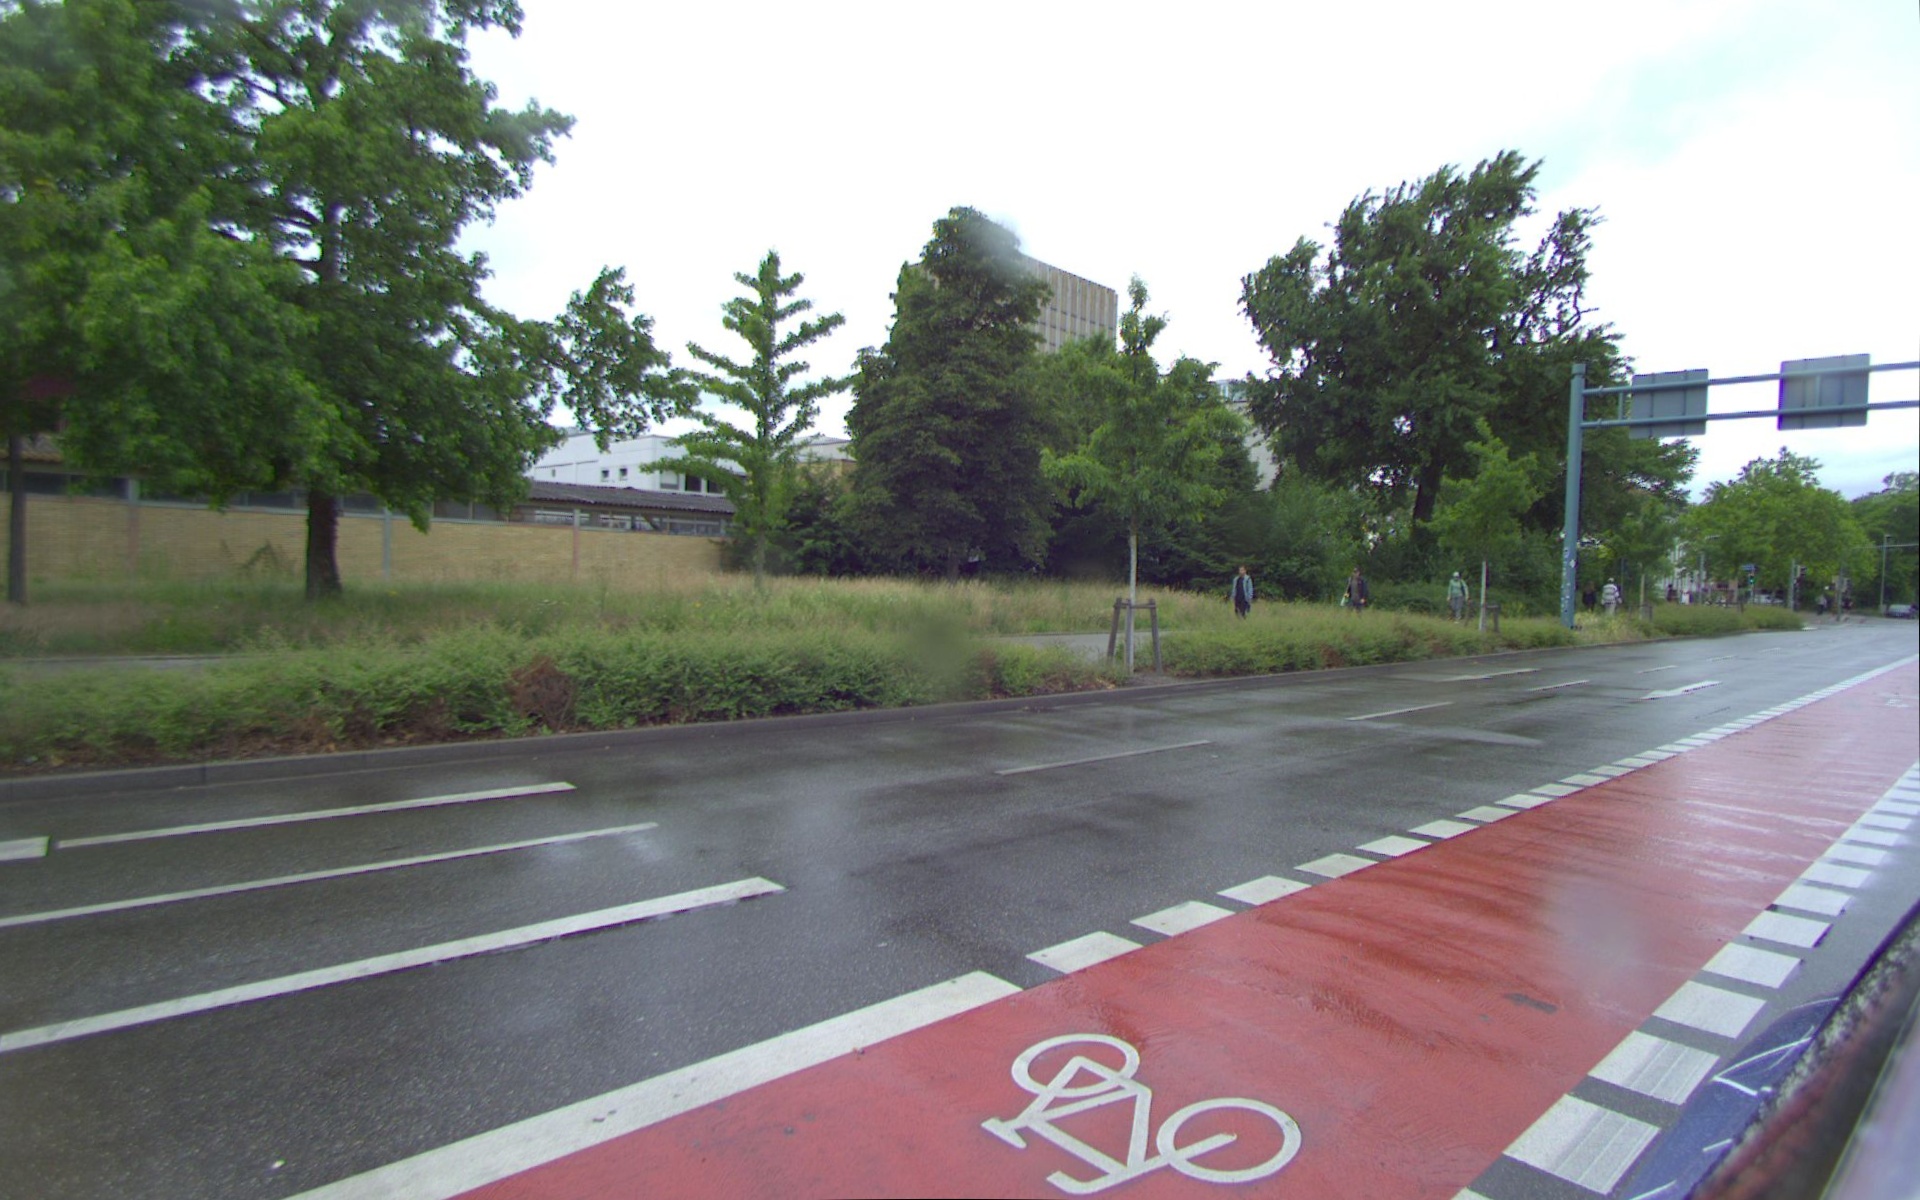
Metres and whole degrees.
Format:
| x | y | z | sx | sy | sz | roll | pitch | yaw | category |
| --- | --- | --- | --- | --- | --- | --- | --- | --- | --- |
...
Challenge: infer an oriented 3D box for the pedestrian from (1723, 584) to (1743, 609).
| x | y | z | sx | sy | sz | roll | pitch | yaw | category |
| --- | --- | --- | --- | --- | --- | --- | --- | --- | --- |
| 52.178 | -0.265 | 68.329 | 0.868 | 1.627 | 0.856 | 2 | 1 | 25 | pedestrian |

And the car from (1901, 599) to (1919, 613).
| x | y | z | sx | sy | sz | roll | pitch | yaw | category |
| --- | --- | --- | --- | --- | --- | --- | --- | --- | --- |
| 96.164 | 0.624 | 102.044 | 4.040 | 1.282 | 1.658 | 0 | 2 | -45 | car |

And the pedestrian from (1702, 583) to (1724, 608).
| x | y | z | sx | sy | sz | roll | pitch | yaw | category |
| --- | --- | --- | --- | --- | --- | --- | --- | --- | --- |
| 51.291 | -0.316 | 68.936 | 0.866 | 1.627 | 0.858 | 2 | 1 | 19 | pedestrian |

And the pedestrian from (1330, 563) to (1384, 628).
| x | y | z | sx | sy | sz | roll | pitch | yaw | category |
| --- | --- | --- | --- | --- | --- | --- | --- | --- | --- |
| 11.100 | -0.128 | 28.299 | 1.026 | 1.769 | 0.936 | 1 | 1 | -36 | pedestrian |

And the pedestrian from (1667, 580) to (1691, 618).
| x | y | z | sx | sy | sz | roll | pitch | yaw | category |
| --- | --- | --- | --- | --- | --- | --- | --- | --- | --- |
| 36.948 | -0.062 | 51.982 | 0.834 | 1.882 | 0.732 | 1 | 1 | -36 | pedestrian |

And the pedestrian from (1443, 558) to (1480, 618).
| x | y | z | sx | sy | sz | roll | pitch | yaw | category |
| --- | --- | --- | --- | --- | --- | --- | --- | --- | --- |
| 17.432 | -0.407 | 35.175 | 0.813 | 2.038 | 0.793 | 1 | 1 | -36 | pedestrian |

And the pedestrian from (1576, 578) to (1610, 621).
| x | y | z | sx | sy | sz | roll | pitch | yaw | category |
| --- | --- | --- | --- | --- | --- | --- | --- | --- | --- |
| 25.967 | -0.022 | 41.509 | 0.813 | 1.725 | 0.935 | 4 | -2 | -38 | pedestrian |

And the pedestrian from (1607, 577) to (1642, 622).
| x | y | z | sx | sy | sz | roll | pitch | yaw | category |
| --- | --- | --- | --- | --- | --- | --- | --- | --- | --- |
| 26.573 | -0.005 | 40.478 | 0.813 | 1.743 | 0.935 | 4 | -2 | -38 | pedestrian |

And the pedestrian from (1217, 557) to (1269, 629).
| x | y | z | sx | sy | sz | roll | pitch | yaw | category |
| --- | --- | --- | --- | --- | --- | --- | --- | --- | --- |
| 7.374 | -0.186 | 26.390 | 0.813 | 1.819 | 0.936 | 1 | 1 | -36 | pedestrian |

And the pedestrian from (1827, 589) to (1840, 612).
| x | y | z | sx | sy | sz | roll | pitch | yaw | category |
| --- | --- | --- | --- | --- | --- | --- | --- | --- | --- |
| 68.974 | 0.039 | 79.900 | 0.620 | 1.847 | 0.778 | 3 | 1 | 33 | pedestrian |

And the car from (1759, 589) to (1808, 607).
| x | y | z | sx | sy | sz | roll | pitch | yaw | category |
| --- | --- | --- | --- | --- | --- | --- | --- | --- | --- |
| 97.724 | -0.246 | 120.094 | 4.407 | 1.896 | 1.615 | 3 | 2 | 40 | car |

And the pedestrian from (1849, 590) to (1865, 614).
| x | y | z | sx | sy | sz | roll | pitch | yaw | category |
| --- | --- | --- | --- | --- | --- | --- | --- | --- | --- |
| 70.121 | 0.124 | 79.115 | 0.618 | 1.847 | 0.780 | 2 | 1 | 25 | pedestrian |

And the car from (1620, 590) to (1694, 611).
| x | y | z | sx | sy | sz | roll | pitch | yaw | category |
| --- | --- | --- | --- | --- | --- | --- | --- | --- | --- |
| 52.429 | 0.019 | 76.183 | 4.377 | 1.353 | 1.746 | 3 | 5 | 44 | car |
